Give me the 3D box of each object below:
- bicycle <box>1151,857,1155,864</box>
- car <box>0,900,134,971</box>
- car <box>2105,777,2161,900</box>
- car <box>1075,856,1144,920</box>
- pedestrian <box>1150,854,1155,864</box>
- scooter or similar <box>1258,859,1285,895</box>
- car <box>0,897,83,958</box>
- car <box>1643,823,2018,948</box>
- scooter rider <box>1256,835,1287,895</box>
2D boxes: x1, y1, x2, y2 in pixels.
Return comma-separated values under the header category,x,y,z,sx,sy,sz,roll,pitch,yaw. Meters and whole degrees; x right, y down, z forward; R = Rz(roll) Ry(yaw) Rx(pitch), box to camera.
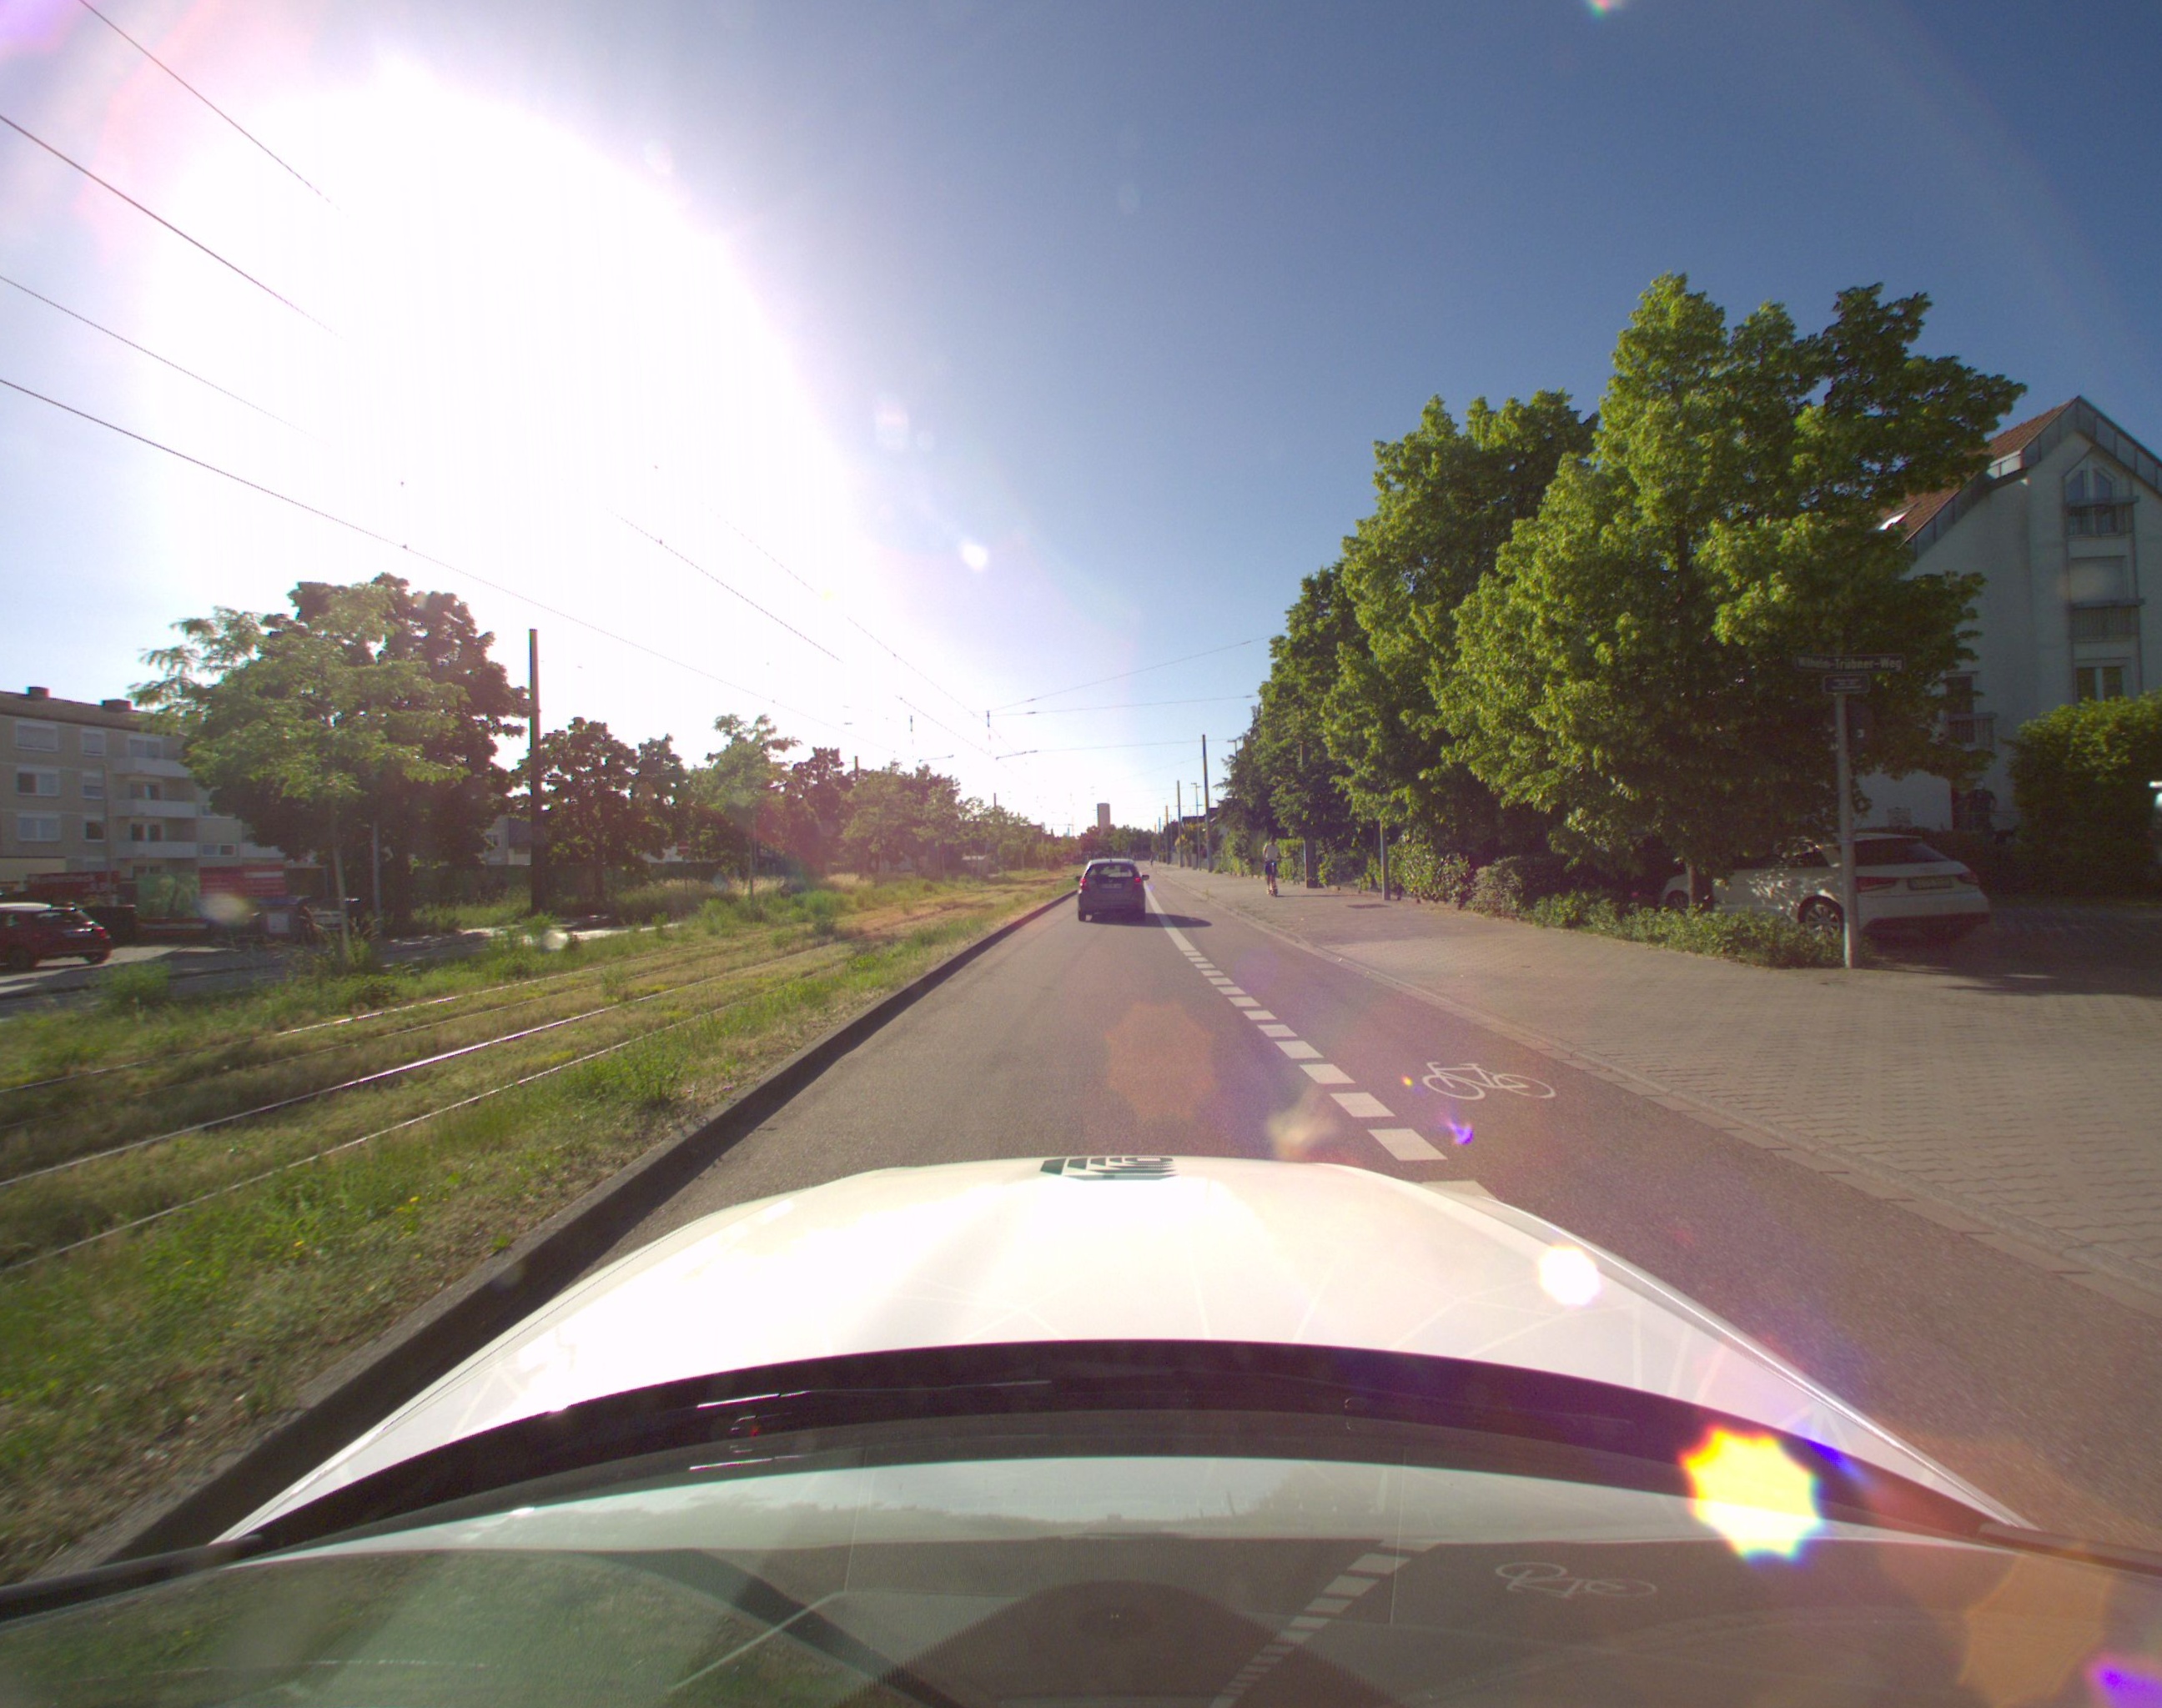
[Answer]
category,x,y,z,sx,sy,sz,roll,pitch,yaw
bicycle,13.090,1.189,148.931,0.510,1.241,3.091,-3,0,2
car,-27.248,2.117,20.765,4.056,1.568,1.792,-3,0,1
car,18.017,-0.276,11.061,1.864,1.966,5.171,-2,0,3
car,0.762,0.816,21.139,1.617,1.499,3.459,-1,0,2
pedestrian,13.054,0.891,148.933,0.719,1.800,1.165,-3,0,2
scooter or similar,6.269,0.745,26.832,0.537,1.118,1.418,-3,-1,1
car,-31.651,2.166,23.238,4.056,1.568,1.792,-3,0,1
car,10.271,0.388,11.645,1.768,1.386,3.870,-3,0,0
scooter rider,6.234,0.355,26.680,0.713,1.901,0.935,-3,-1,1
